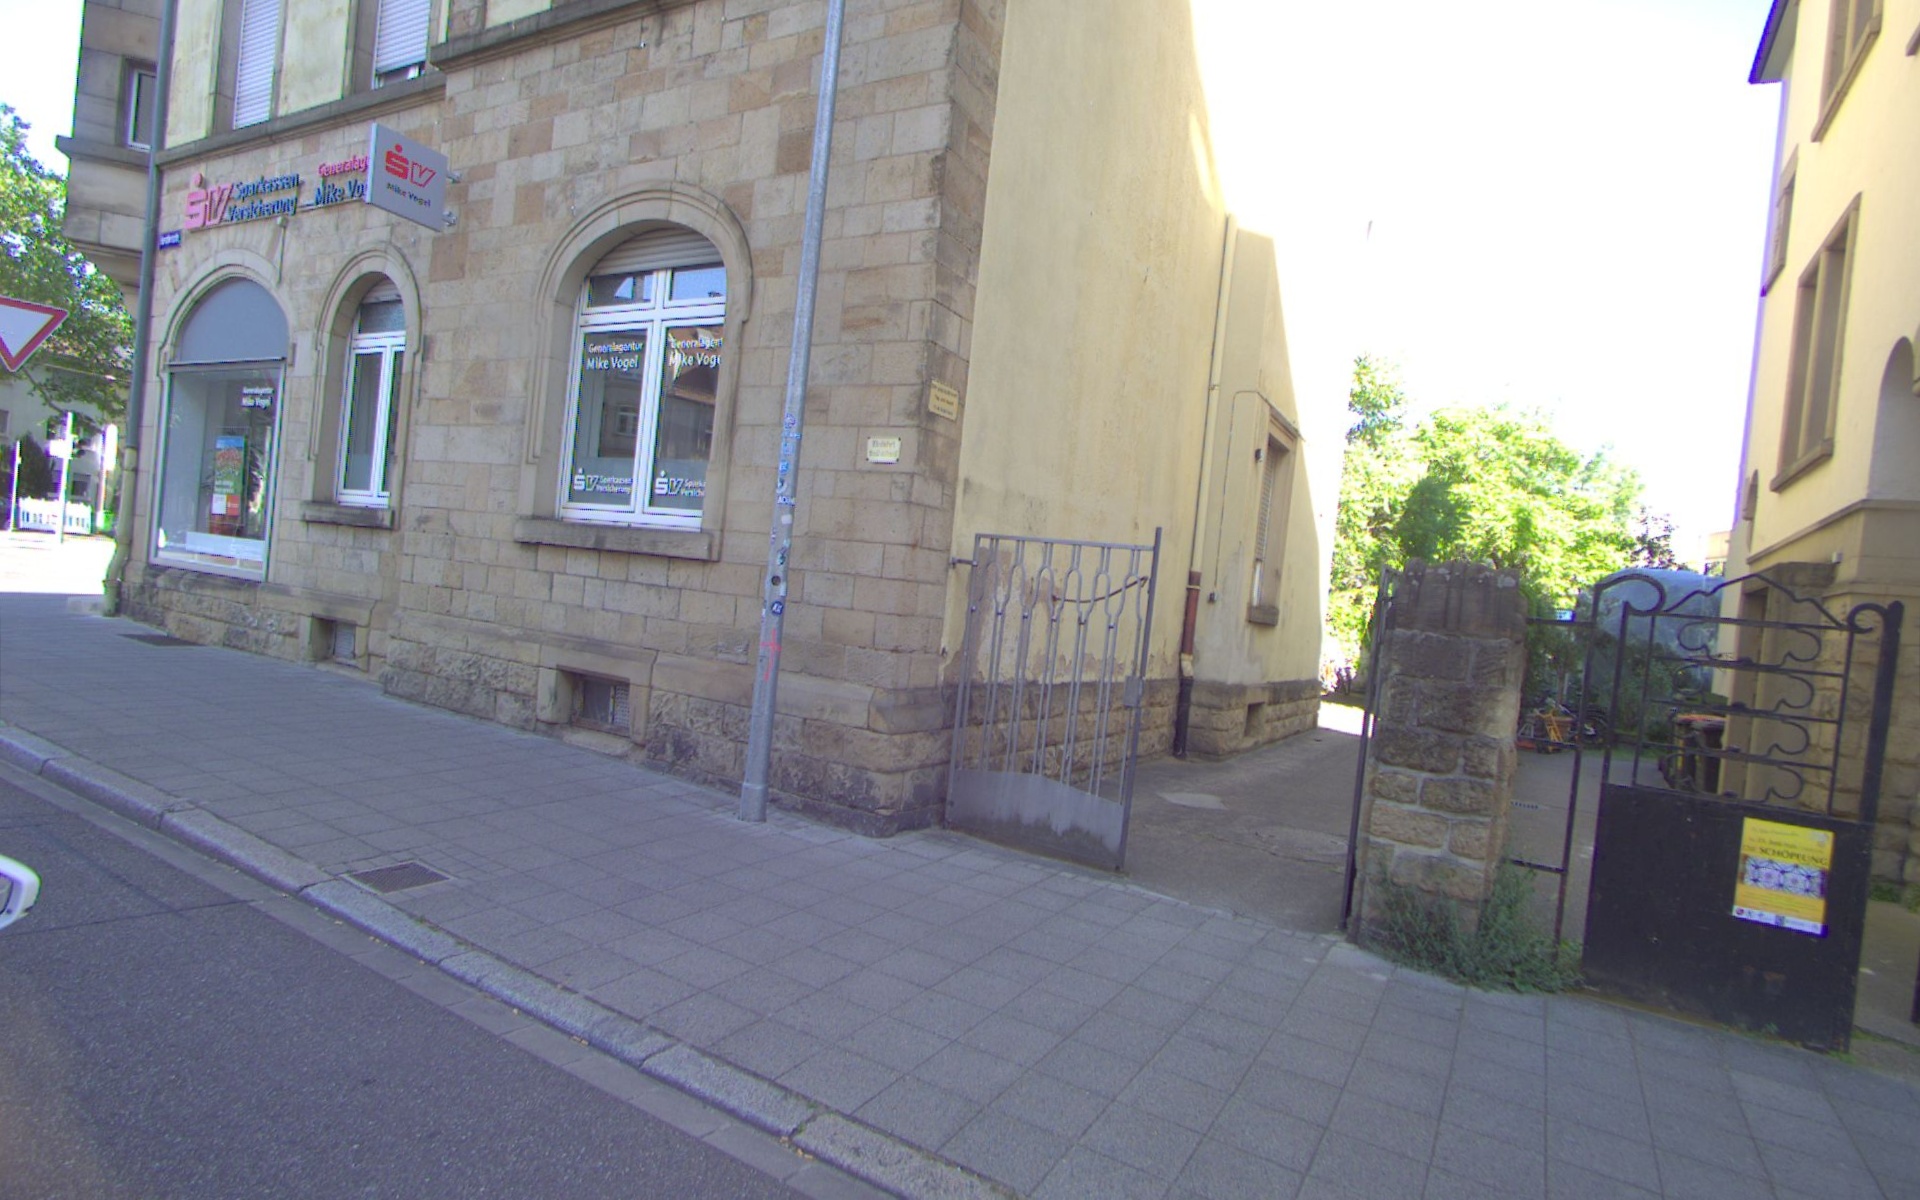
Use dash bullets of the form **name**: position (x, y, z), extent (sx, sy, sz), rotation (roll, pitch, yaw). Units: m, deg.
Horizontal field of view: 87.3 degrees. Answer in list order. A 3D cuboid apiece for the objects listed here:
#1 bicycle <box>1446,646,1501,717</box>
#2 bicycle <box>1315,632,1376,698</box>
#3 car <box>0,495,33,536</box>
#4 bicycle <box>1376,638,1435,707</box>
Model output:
- **bicycle**: position (12.603, 1.940, 24.642), extent (0.904, 1.532, 2.667), rotation (6, 2, 31)
- **bicycle**: position (9.984, 1.646, 25.973), extent (0.904, 1.532, 2.667), rotation (6, 2, 31)
- **car**: position (-36.097, -3.254, 35.861), extent (1.614, 1.417, 4.283), rotation (7, 0, 11)
- **bicycle**: position (11.217, 1.781, 25.256), extent (0.904, 1.532, 2.667), rotation (6, 2, 31)
